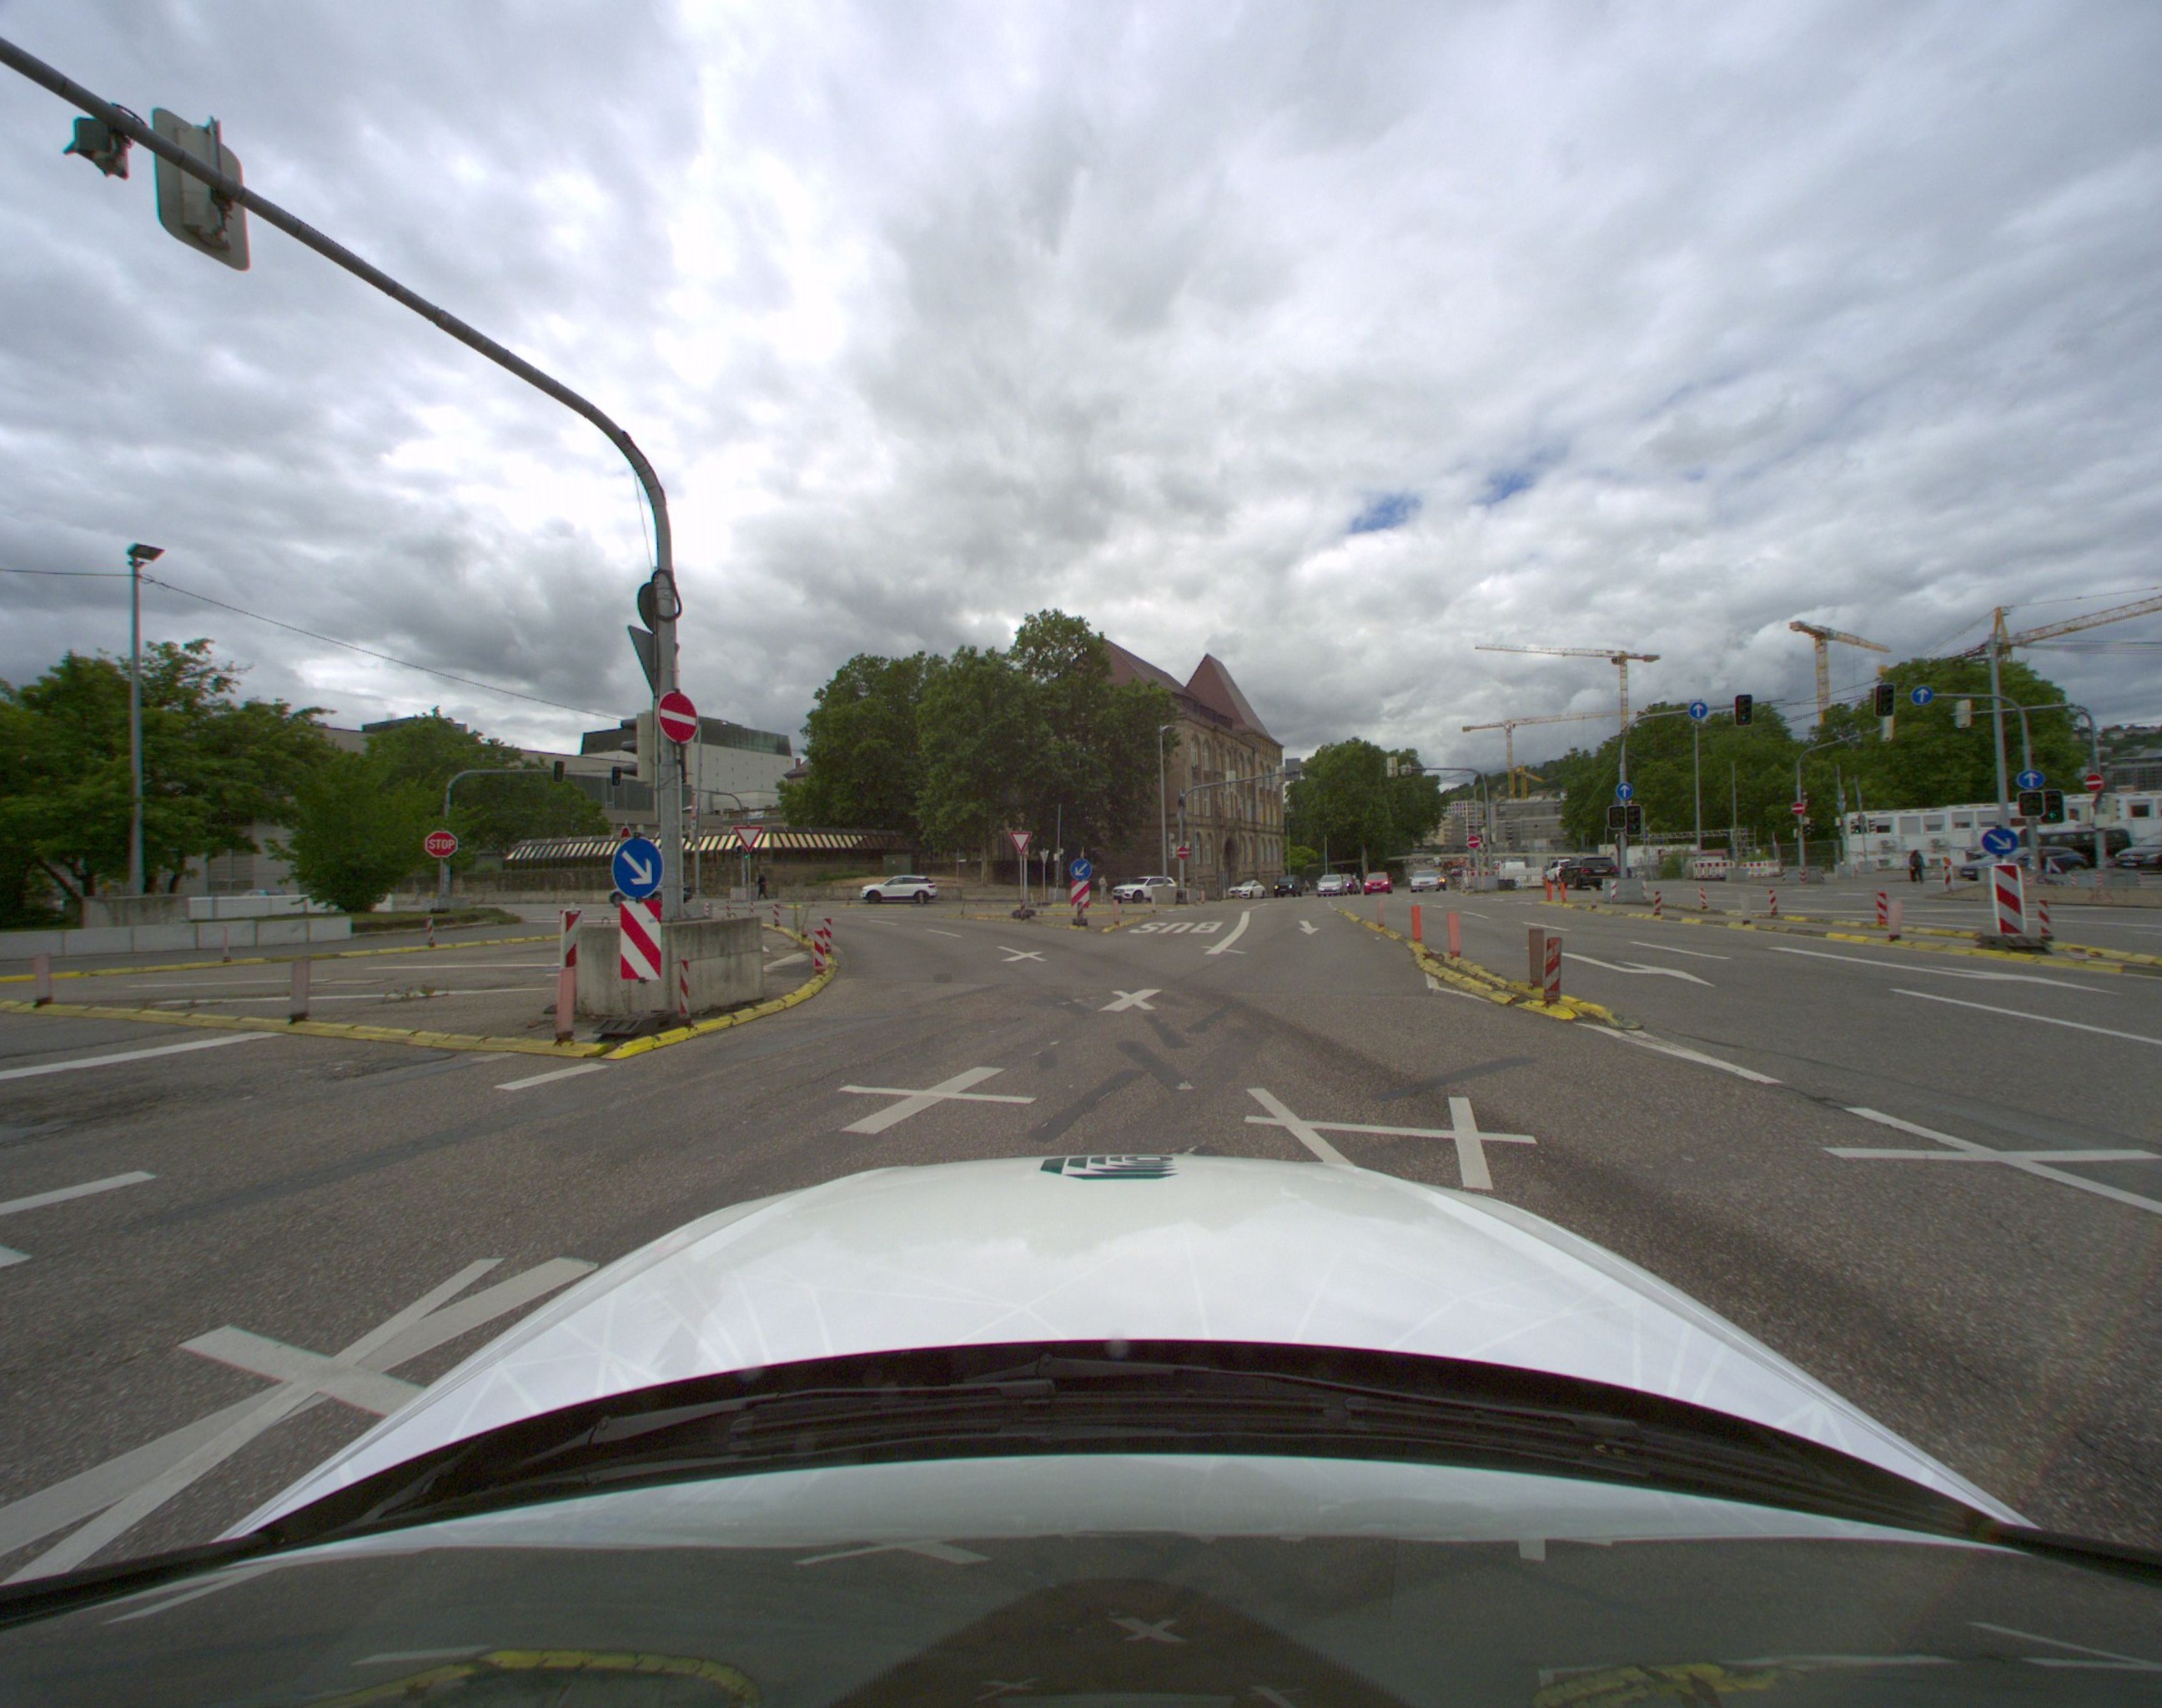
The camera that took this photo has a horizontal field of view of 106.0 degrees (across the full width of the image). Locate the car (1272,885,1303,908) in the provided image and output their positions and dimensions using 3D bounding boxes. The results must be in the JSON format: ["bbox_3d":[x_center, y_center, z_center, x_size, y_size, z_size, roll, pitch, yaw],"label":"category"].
[{"bbox_3d":[18.644,3.867,73.423,1.915,1.939,3.692,-4,-6,25],"label":"car"}]

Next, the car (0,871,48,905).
[{"bbox_3d":[-79.575,2.546,60.296,5.457,2.374,2.606,-2,-1,25],"label":"car"}]

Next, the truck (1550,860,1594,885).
[{"bbox_3d":[34.056,1.268,56.569,1.918,1.681,4.034,-1,-1,22],"label":"truck"}]

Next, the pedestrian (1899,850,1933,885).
[{"bbox_3d":[38.606,0.632,37.649,0.618,1.592,0.851,-2,-3,2],"label":"pedestrian"}]

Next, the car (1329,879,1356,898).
[{"bbox_3d":[20.144,2.628,62.606,1.645,1.435,3.465,-1,-2,23],"label":"car"}]

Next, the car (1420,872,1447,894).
[{"bbox_3d":[25.653,2.107,59.197,1.673,1.436,3.466,-4,-3,24],"label":"car"}]

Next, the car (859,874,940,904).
[{"bbox_3d":[-10.101,1.951,45.635,4.316,1.567,1.751,0,2,-9],"label":"car"}]

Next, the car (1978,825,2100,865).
[{"bbox_3d":[50.995,-0.467,43.412,3.970,2.014,2.002,-1,-1,3],"label":"car"}]

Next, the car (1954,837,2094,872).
[{"bbox_3d":[42.821,0.042,37.055,4.035,1.435,1.789,-2,-1,5],"label":"car"}]

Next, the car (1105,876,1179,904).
[{"bbox_3d":[3.778,2.201,49.849,4.575,1.643,1.796,2,-2,-41],"label":"car"}]

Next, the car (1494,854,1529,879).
[{"bbox_3d":[31.095,0.916,58.856,1.743,1.687,3.660,-2,-2,20],"label":"car"}]

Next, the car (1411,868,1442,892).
[{"bbox_3d":[22.429,1.704,52.764,1.673,1.436,3.466,-4,-3,24],"label":"car"}]

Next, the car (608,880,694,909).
[{"bbox_3d":[-25.217,2.357,47.735,4.429,1.568,1.838,-1,-1,17],"label":"car"}]

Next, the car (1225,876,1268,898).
[{"bbox_3d":[12.266,2.412,60.173,1.718,1.435,4.408,-1,-1,31],"label":"car"}]

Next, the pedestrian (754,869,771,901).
[{"bbox_3d":[-20.011,1.952,51.218,0.848,2.014,0.621,-1,-3,-9],"label":"pedestrian"}]

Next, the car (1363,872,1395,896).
[{"bbox_3d":[19.707,1.963,53.770,1.670,1.435,3.466,-3,-3,24],"label":"car"}]

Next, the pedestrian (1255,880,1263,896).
[{"bbox_3d":[18.054,3.434,82.761,0.654,1.635,0.855,-2,-2,20],"label":"pedestrian"}]

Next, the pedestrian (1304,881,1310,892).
[{"bbox_3d":[31.460,4.519,113.282,0.654,1.635,0.855,-2,-2,20],"label":"pedestrian"}]

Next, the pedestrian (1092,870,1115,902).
[{"bbox_3d":[1.436,2.099,53.012,1.193,2.014,1.198,-1,-2,-15],"label":"pedestrian"}]

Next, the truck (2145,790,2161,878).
[{"bbox_3d":[49.512,-1.000,32.714,8.955,3.675,2.914,-2,-1,4],"label":"truck"}]

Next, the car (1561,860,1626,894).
[{"bbox_3d":[26.427,1.201,42.110,1.923,1.667,3.658,-2,-2,18],"label":"car"}]

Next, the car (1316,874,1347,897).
[{"bbox_3d":[17.289,2.207,56.169,1.645,1.436,3.465,-4,-4,22],"label":"car"}]
